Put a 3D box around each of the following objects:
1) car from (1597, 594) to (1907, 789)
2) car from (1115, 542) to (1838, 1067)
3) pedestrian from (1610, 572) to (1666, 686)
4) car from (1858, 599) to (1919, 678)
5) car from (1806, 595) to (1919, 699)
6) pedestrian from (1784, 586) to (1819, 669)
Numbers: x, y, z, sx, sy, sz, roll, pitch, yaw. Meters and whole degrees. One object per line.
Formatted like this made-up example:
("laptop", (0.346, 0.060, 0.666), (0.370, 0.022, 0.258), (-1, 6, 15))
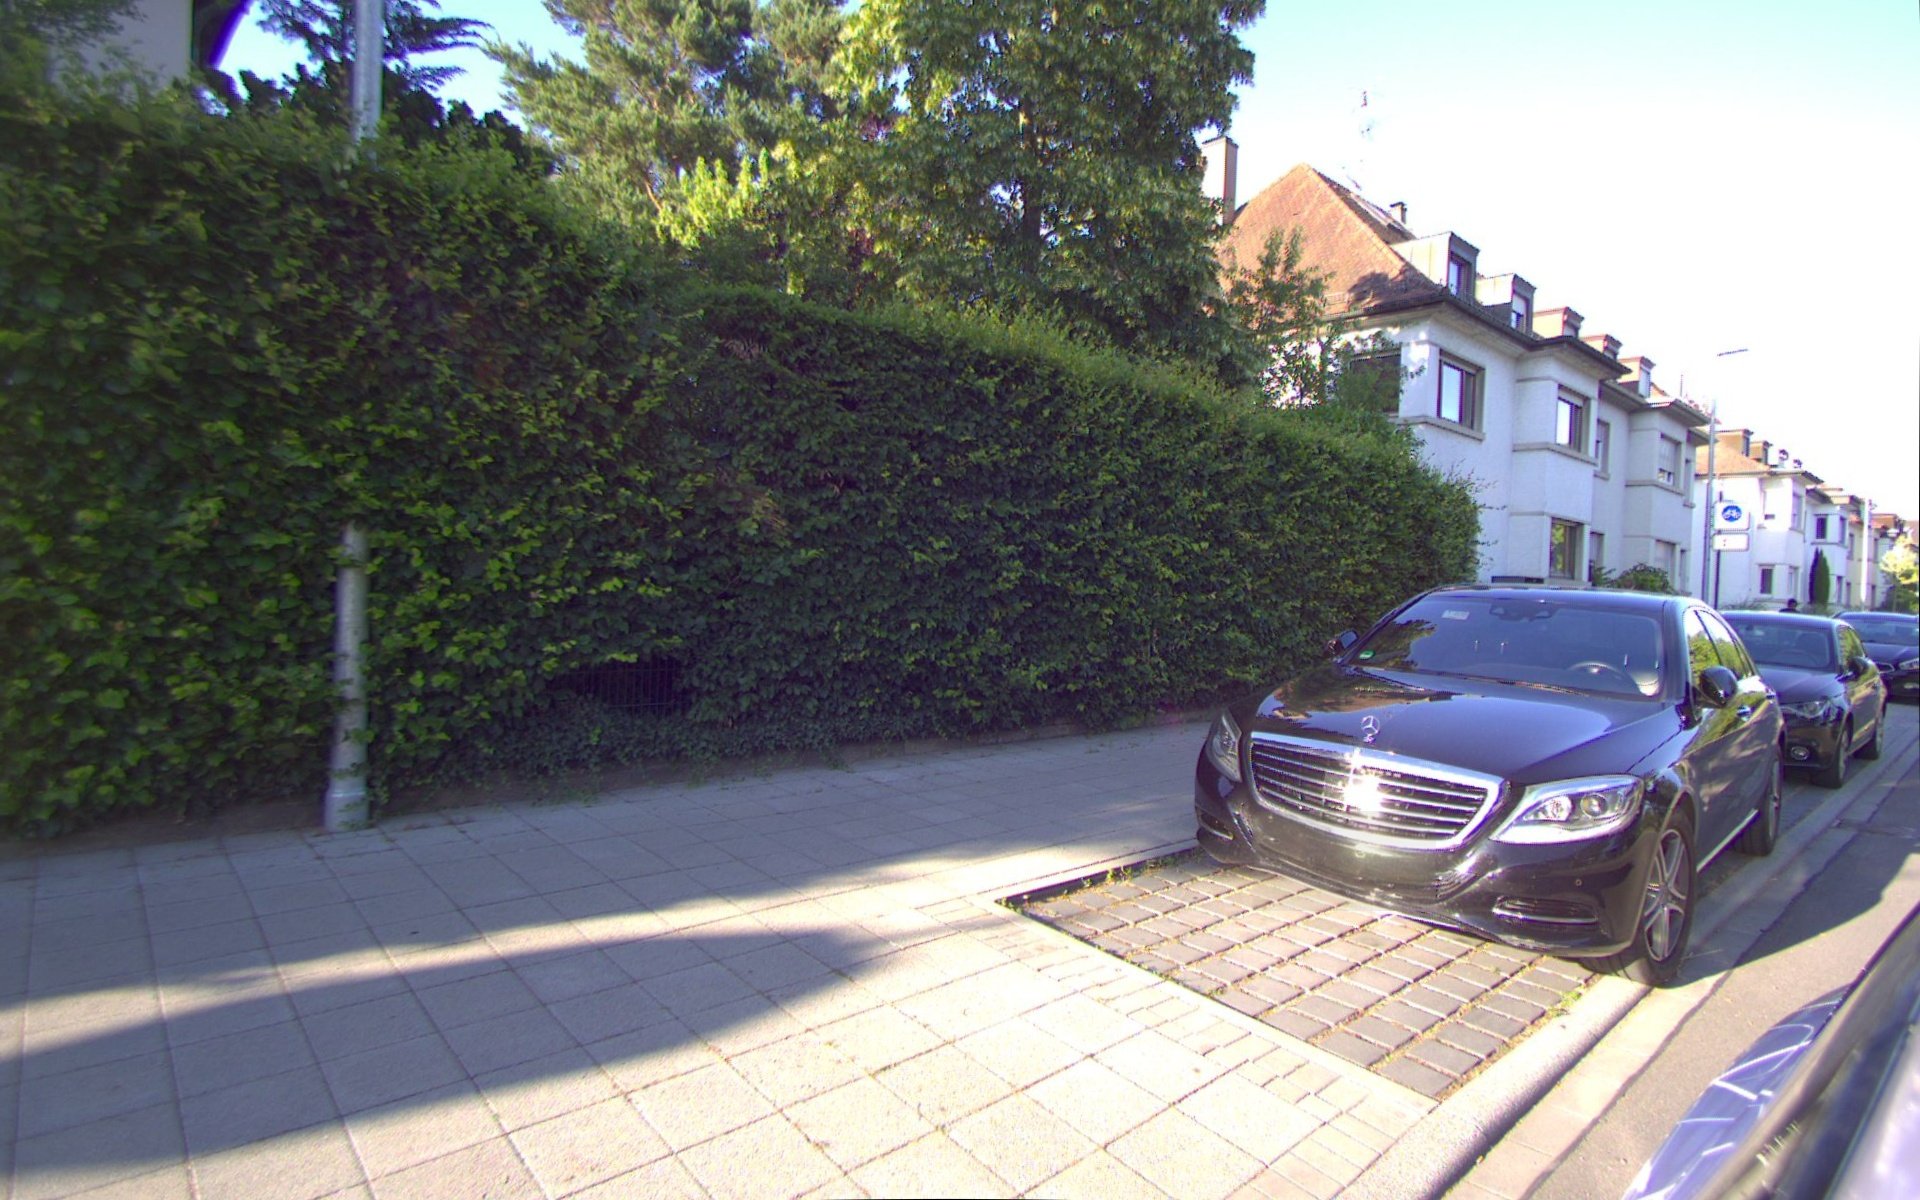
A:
("car", (7.755, 0.727, 9.777), (3.932, 1.496, 1.781), (1, -1, -43))
("car", (3.125, 0.589, 5.441), (4.835, 1.517, 2.006), (1, 3, -45))
("pedestrian", (11.456, 0.463, 17.089), (0.809, 1.869, 0.587), (0, 0, -41))
("car", (20.011, 0.786, 20.962), (3.410, 1.554, 1.679), (1, -1, -41))
("car", (15.966, 0.757, 17.327), (4.007, 1.616, 1.793), (1, -1, -43))
("pedestrian", (18.834, 0.609, 22.655), (0.579, 1.821, 0.530), (1, -1, -44))
